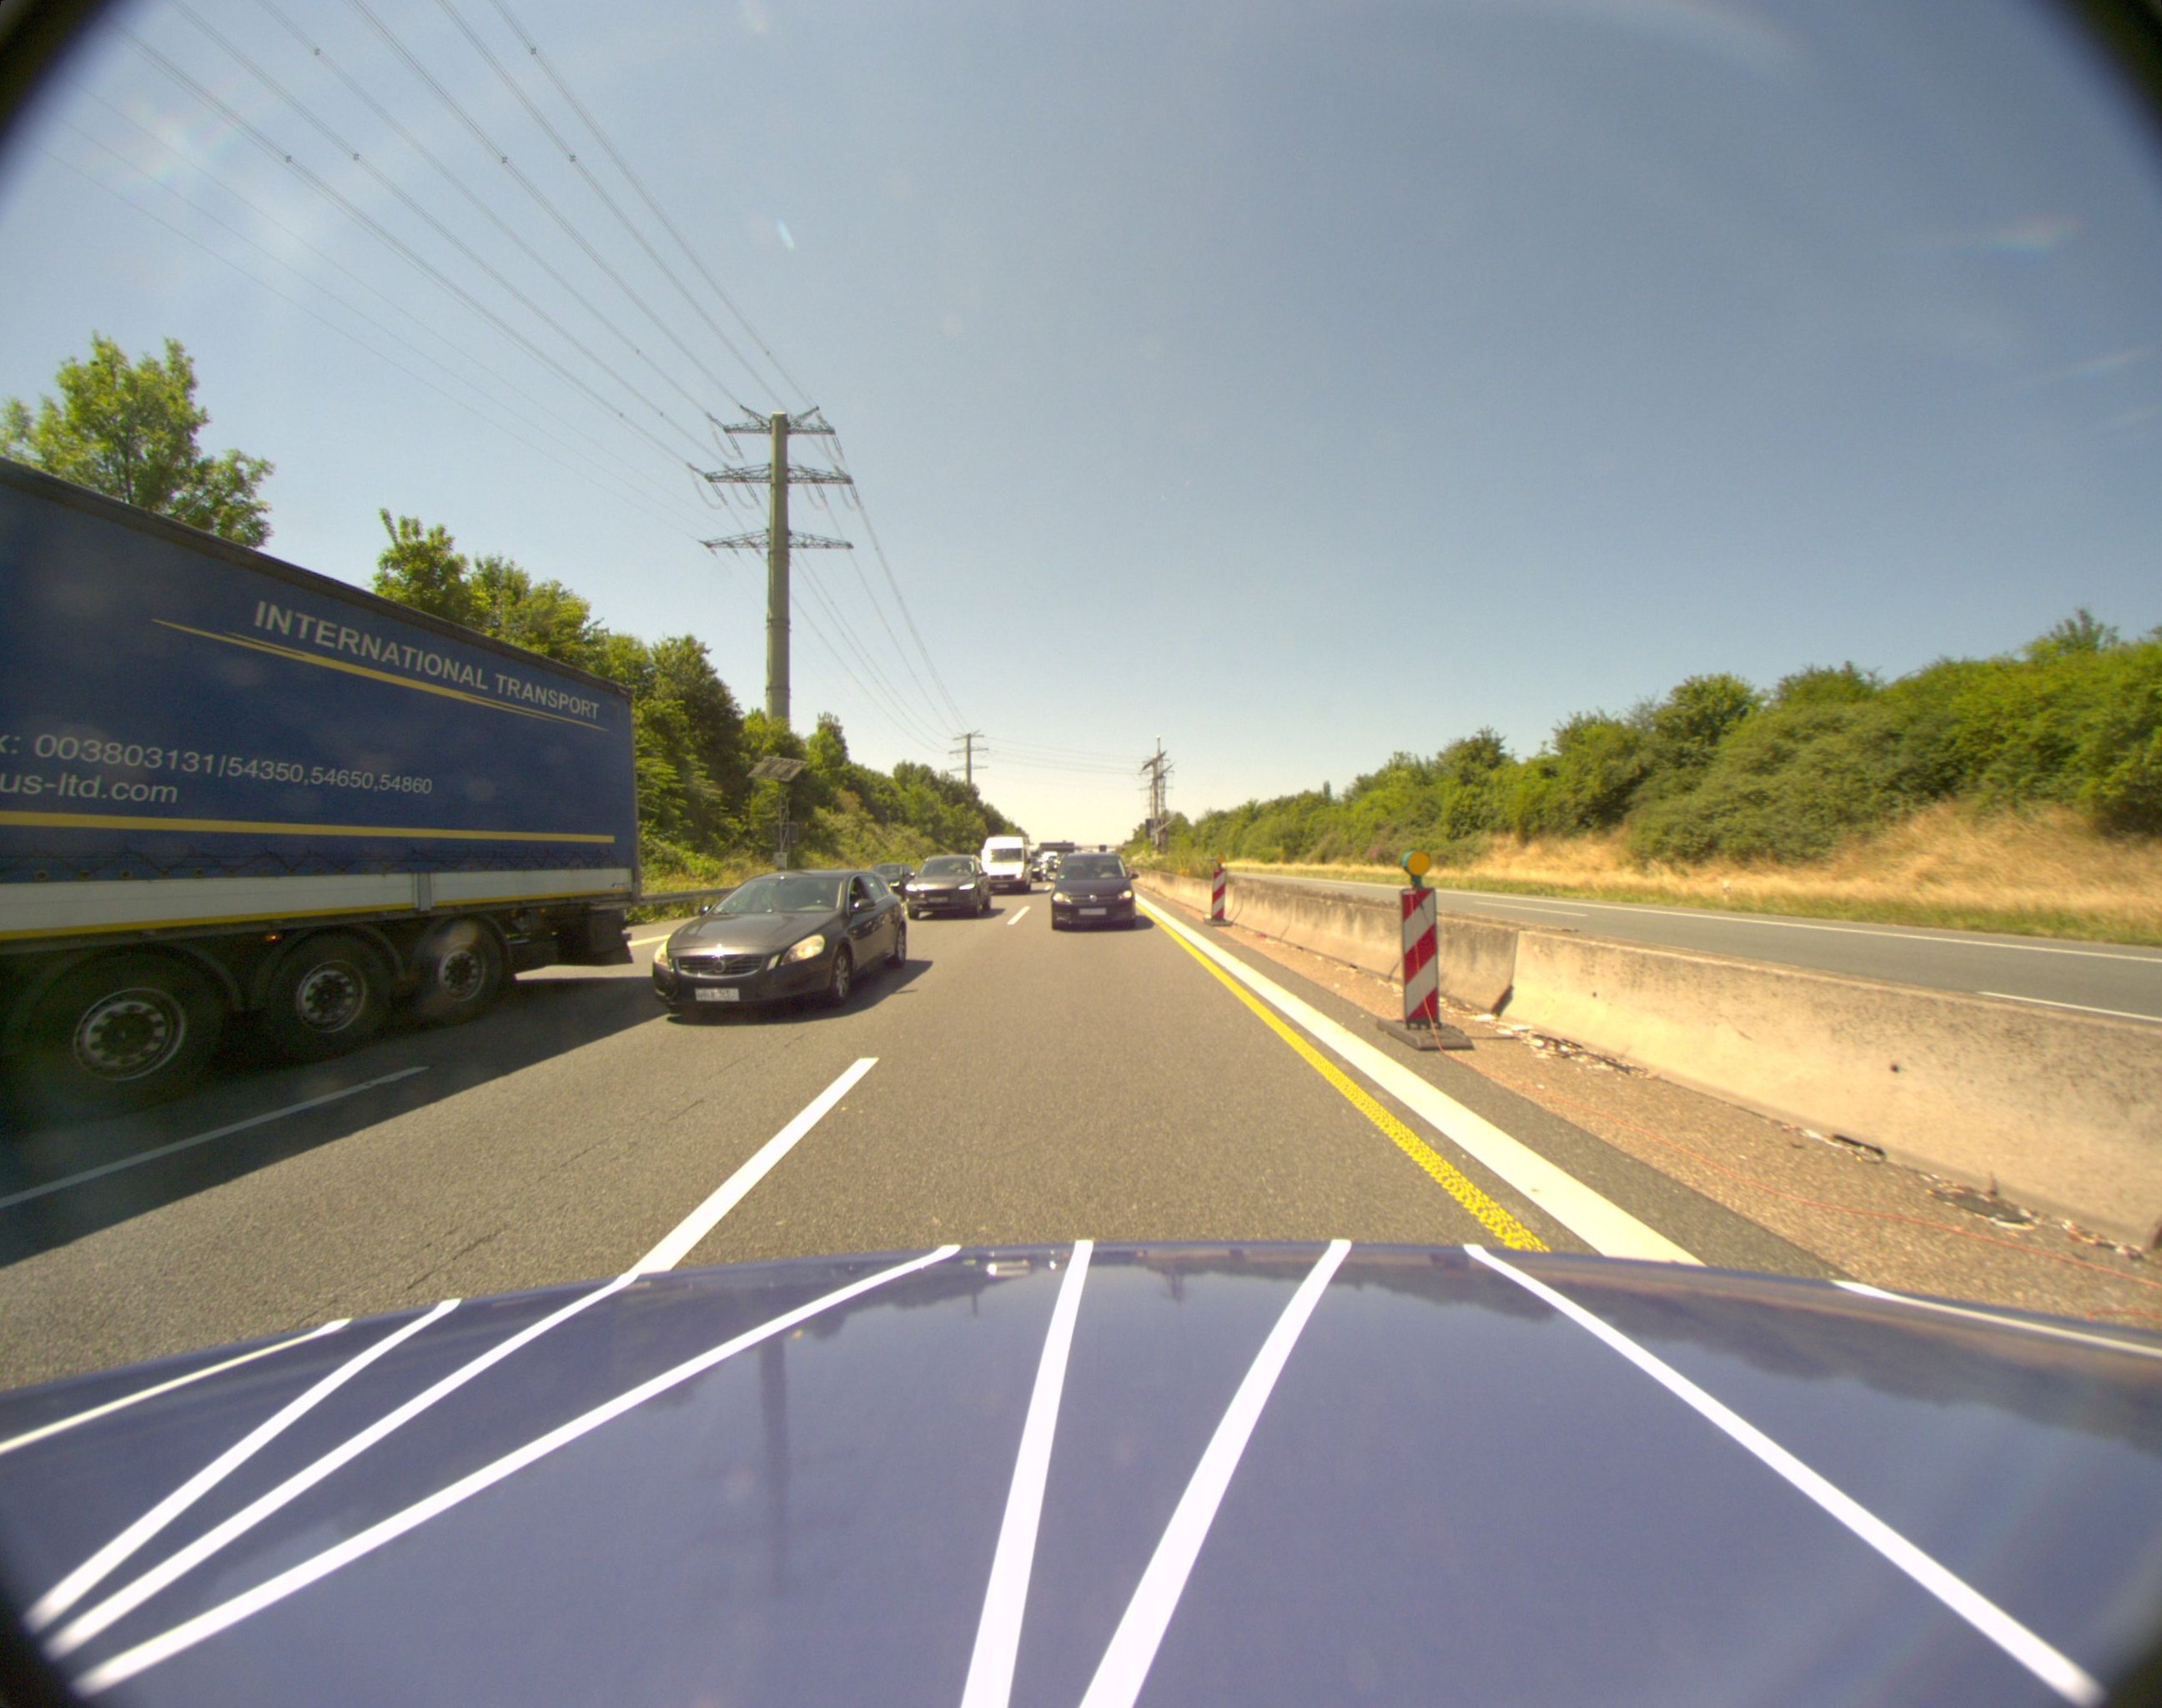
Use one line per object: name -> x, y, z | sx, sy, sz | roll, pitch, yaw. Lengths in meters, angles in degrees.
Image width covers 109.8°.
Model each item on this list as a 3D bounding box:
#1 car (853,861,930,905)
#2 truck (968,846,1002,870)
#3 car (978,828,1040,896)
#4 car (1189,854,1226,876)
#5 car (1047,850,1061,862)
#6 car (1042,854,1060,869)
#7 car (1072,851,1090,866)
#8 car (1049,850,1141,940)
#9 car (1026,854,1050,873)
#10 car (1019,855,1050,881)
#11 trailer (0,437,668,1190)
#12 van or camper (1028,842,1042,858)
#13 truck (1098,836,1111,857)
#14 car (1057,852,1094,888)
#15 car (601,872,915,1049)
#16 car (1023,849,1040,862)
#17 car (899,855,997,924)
car -> -7.517, 1.087, 30.628 | 1.795, 1.503, 4.853 | -2, 0, 0
truck -> -9.004, 0.330, 71.717 | 2.253, 2.155, 5.728 | -2, 0, 1
car -> -3.084, 0.306, 34.103 | 2.042, 2.702, 6.705 | -2, 1, 0
car -> 8.815, 0.717, 53.185 | 1.867, 1.481, 4.493 | 0, 0, 1
car -> -3.874, 0.274, 108.452 | 1.720, 1.510, 3.874 | -2, 0, 1
car -> -3.205, 0.813, 81.274 | 1.720, 1.510, 3.874 | -2, 0, 1
car -> 0.061, 0.523, 89.571 | 1.973, 1.682, 3.874 | -2, 1, 1
car -> 0.269, 0.767, 16.615 | 1.700, 1.641, 4.219 | -2, 0, 0
car -> -3.626, 0.798, 64.513 | 1.720, 1.510, 3.874 | -2, 0, 1
car -> -2.980, 0.901, 49.394 | 1.720, 1.510, 3.874 | -2, 0, 1
trailer -> -7.461, -0.204, 4.502 | 2.774, 4.239, 12.877 | -2, 0, 0
van or camper -> -7.761, -0.681, 129.263 | 1.978, 2.511, 4.369 | -2, 1, 1
truck -> 3.929, -1.250, 127.102 | 1.892, 3.263, 5.590 | -2, 1, 1
car -> -0.242, 0.752, 37.797 | 1.700, 1.641, 4.219 | -2, 0, 0
car -> -3.439, 1.028, 9.193 | 1.799, 1.411, 4.509 | -2, 0, 0
car -> -6.253, 0.144, 96.644 | 1.720, 1.510, 3.874 | -2, 0, 1
car -> -3.532, 0.883, 20.986 | 1.893, 1.602, 4.219 | -2, 0, 0
